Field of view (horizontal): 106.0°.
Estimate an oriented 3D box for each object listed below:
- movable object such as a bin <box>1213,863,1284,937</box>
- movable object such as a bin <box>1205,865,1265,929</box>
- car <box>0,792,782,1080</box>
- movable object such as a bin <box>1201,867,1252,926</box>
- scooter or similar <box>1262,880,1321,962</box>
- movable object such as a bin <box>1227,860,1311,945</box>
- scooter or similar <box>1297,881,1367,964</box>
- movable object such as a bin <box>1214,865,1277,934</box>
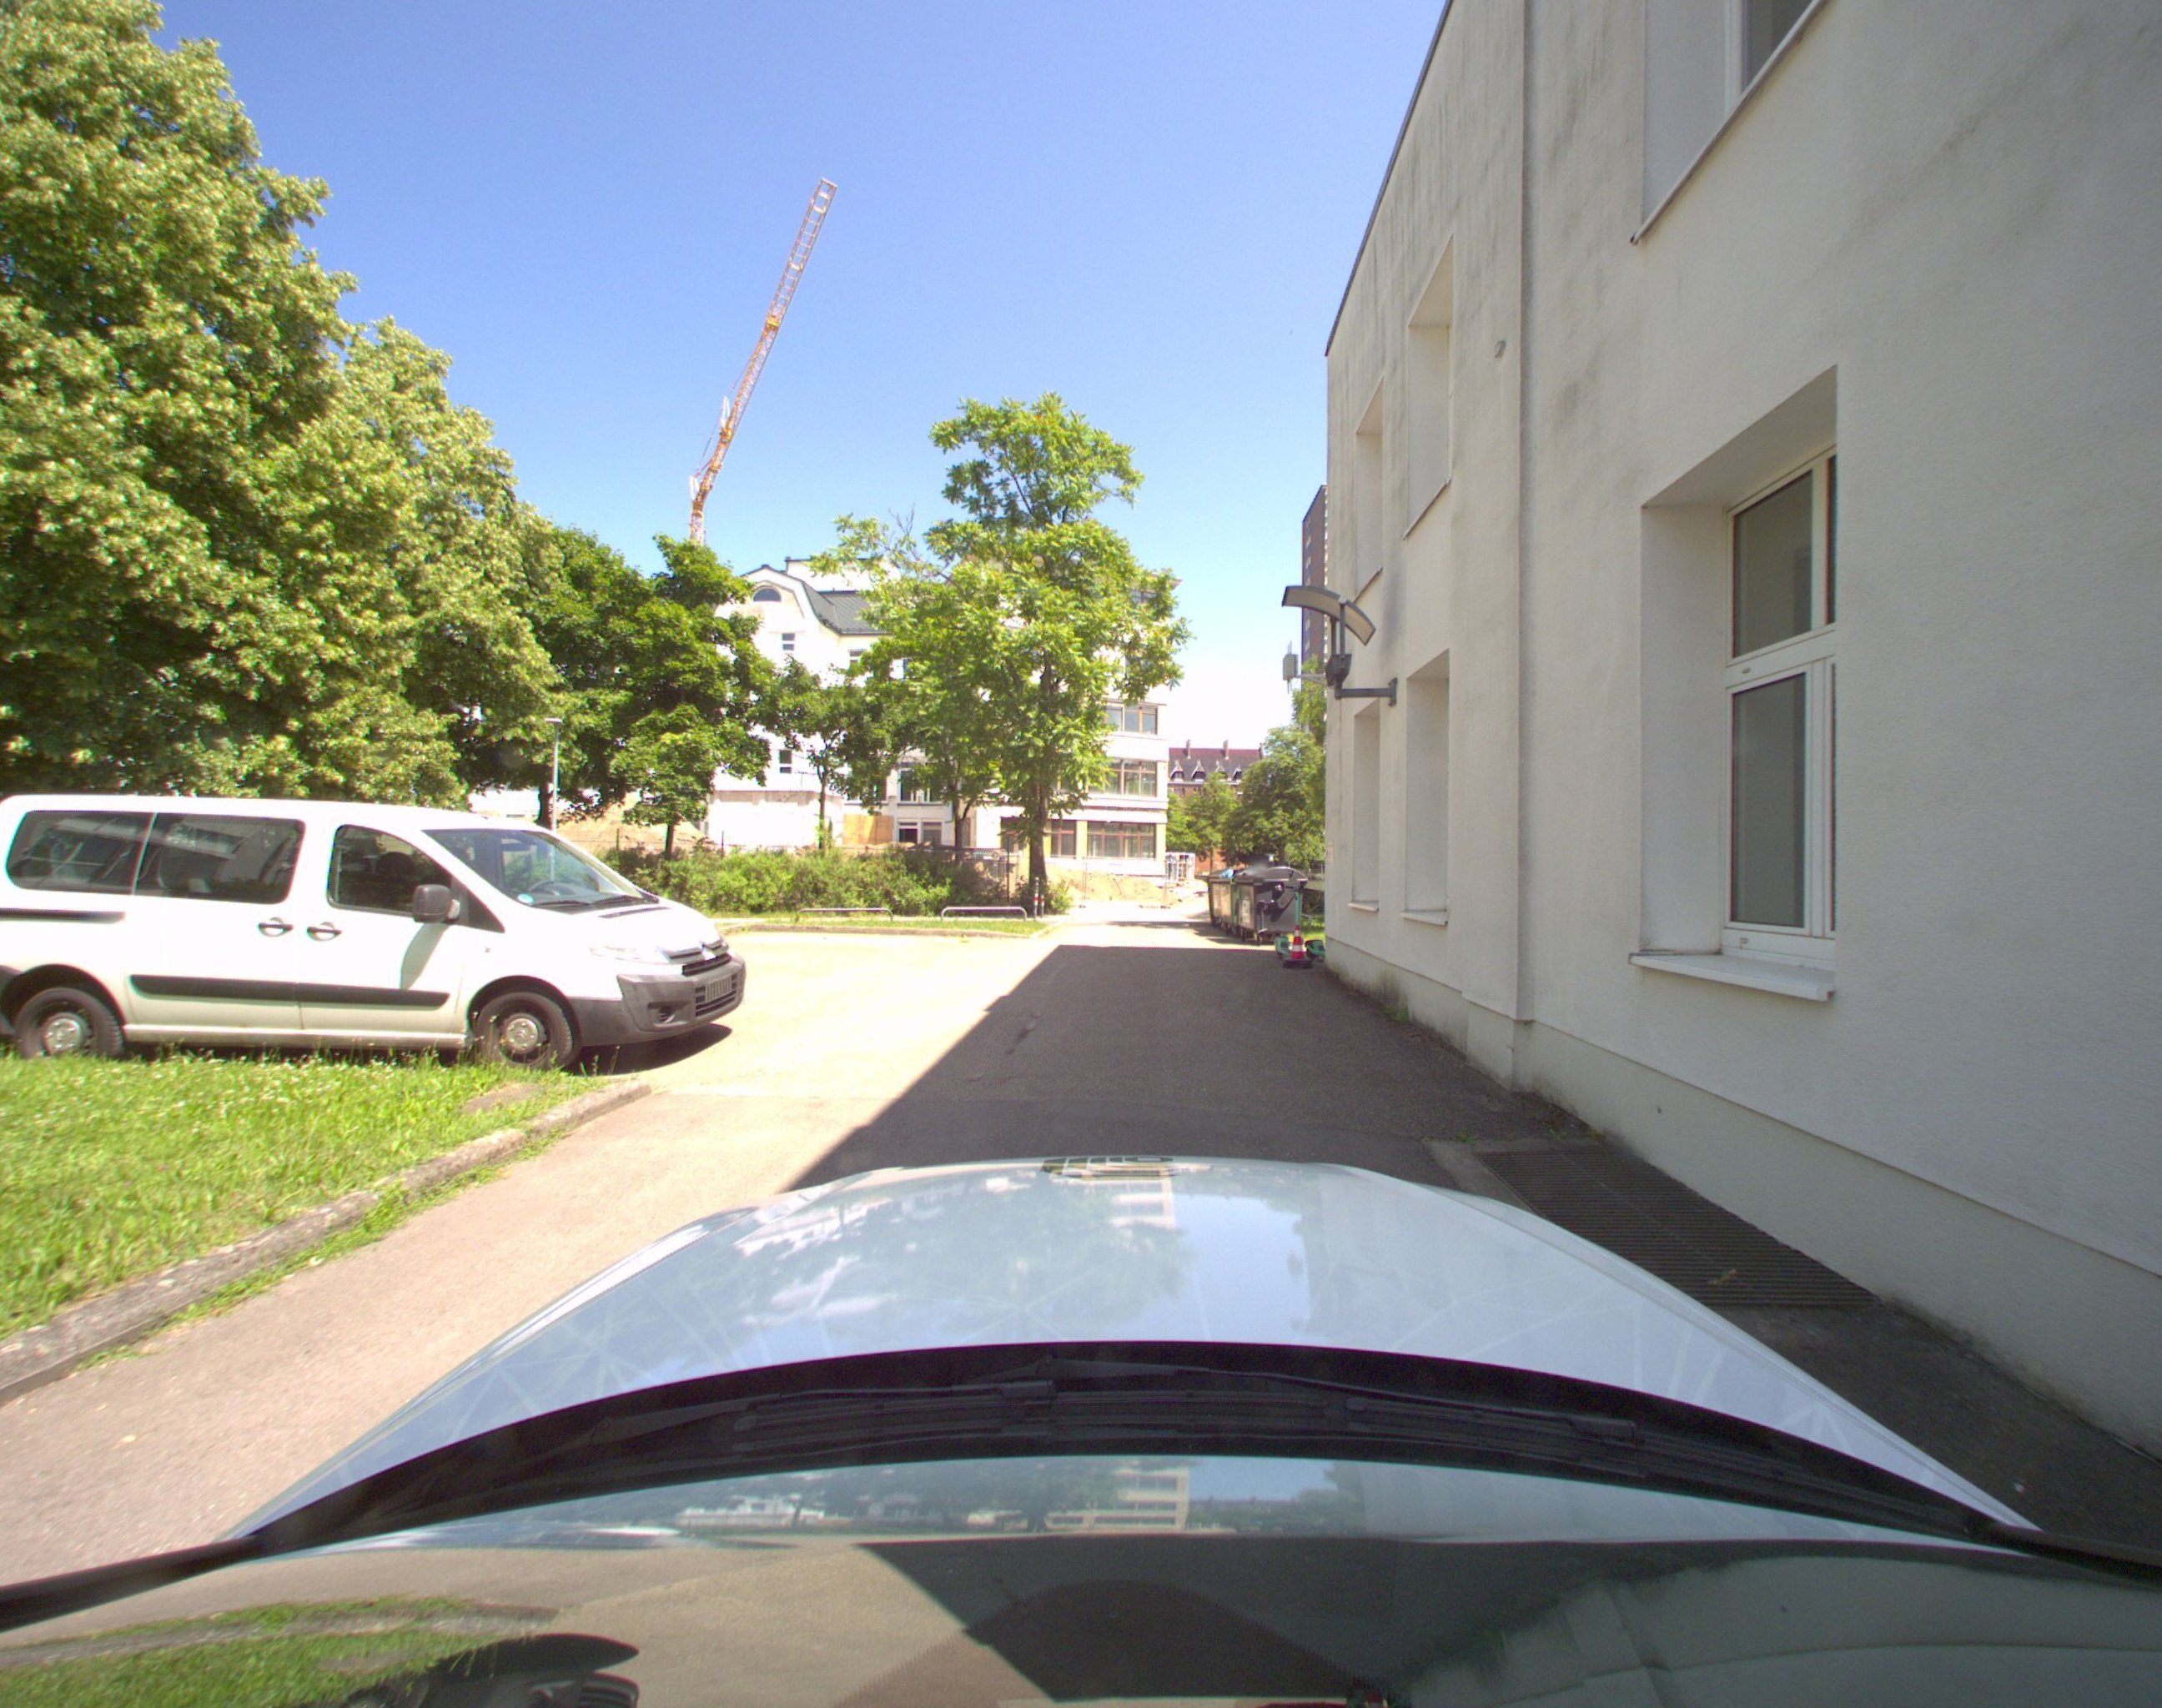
[{"bbox_3d":[3.494,0.945,17.079,1.176,1.470,1.310,1,-2,-2],"label":"movable object such as a bin"},{"bbox_3d":[3.746,1.042,19.895,1.175,1.470,1.311,1,-2,-1],"label":"movable object such as a bin"},{"bbox_3d":[-5.152,0.559,6.457,4.774,1.911,1.999,0,-1,-1],"label":"car"},{"bbox_3d":[3.850,1.113,21.431,1.170,1.470,1.338,1,-2,16],"label":"movable object such as a bin"},{"bbox_3d":[3.210,0.996,12.514,0.462,1.174,1.355,1,-2,-4],"label":"scooter or similar"},{"bbox_3d":[3.505,0.896,15.338,1.153,1.505,1.460,1,-2,-5],"label":"movable object such as a bin"},{"bbox_3d":[3.813,1.014,12.426,0.464,1.174,1.250,1,-2,-13],"label":"scooter or similar"},{"bbox_3d":[3.705,1.012,18.452,1.175,1.470,1.311,1,-2,0],"label":"movable object such as a bin"}]
